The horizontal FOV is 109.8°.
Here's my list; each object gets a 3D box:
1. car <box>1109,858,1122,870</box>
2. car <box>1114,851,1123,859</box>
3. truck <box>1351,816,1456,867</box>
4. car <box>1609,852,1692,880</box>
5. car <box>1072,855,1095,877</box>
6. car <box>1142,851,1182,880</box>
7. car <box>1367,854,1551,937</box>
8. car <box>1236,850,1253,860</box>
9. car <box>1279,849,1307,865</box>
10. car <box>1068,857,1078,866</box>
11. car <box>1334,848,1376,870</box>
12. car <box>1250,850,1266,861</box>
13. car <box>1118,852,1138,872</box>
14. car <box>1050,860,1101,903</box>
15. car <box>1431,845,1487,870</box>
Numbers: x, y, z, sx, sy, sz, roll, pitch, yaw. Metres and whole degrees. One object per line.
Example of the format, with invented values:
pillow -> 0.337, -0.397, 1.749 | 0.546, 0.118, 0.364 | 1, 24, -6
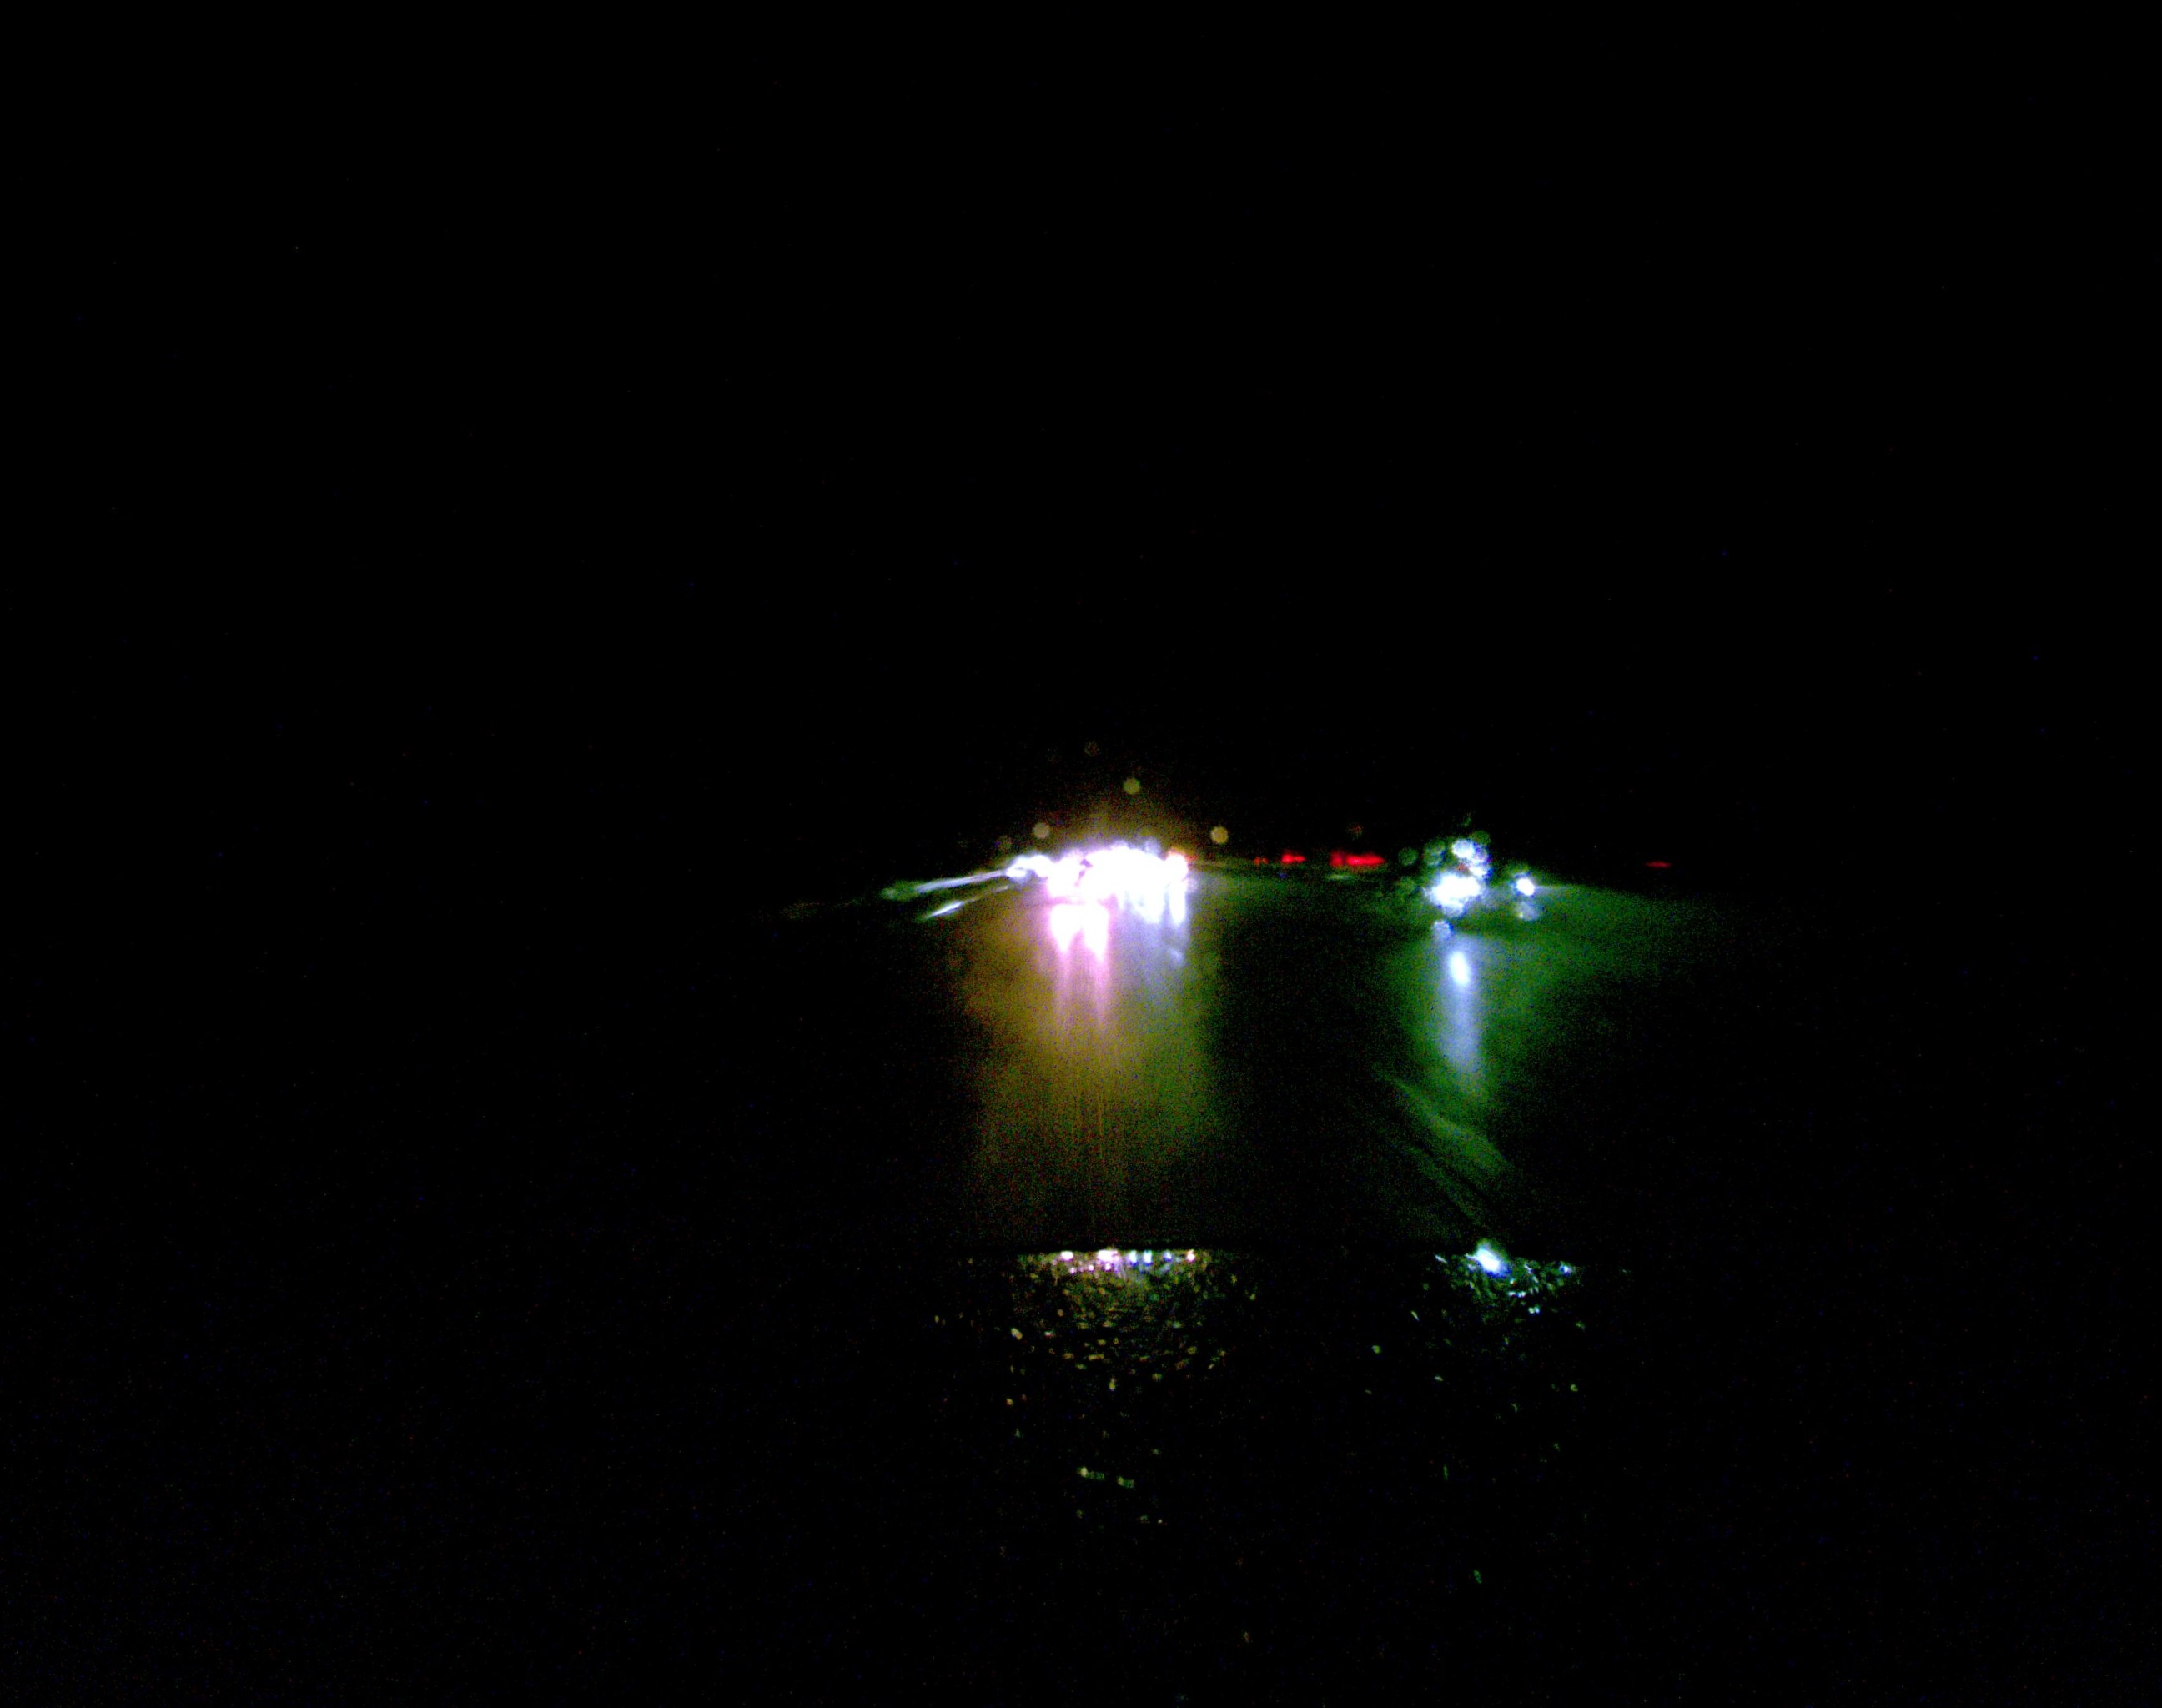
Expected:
car -> 5.154, 1.477, 113.003 | 1.755, 1.563, 4.000 | -2, 0, 1
car -> 8.387, 0.289, 171.806 | 1.800, 1.728, 4.000 | -2, 0, 1
truck -> 32.570, -1.196, 78.231 | 3.418, 4.532, 17.598 | -2, 0, 1
car -> 31.783, 0.625, 42.546 | 1.646, 1.438, 3.932 | -2, 0, 0
car -> 0.238, 0.943, 62.434 | 1.792, 1.681, 4.000 | -2, 0, 1
car -> 4.970, 0.689, 47.051 | 1.960, 1.655, 4.916 | -2, 0, 1
car -> 7.539, 0.751, 15.678 | 1.661, 1.422, 4.246 | -2, 0, 0
car -> 29.127, 0.166, 135.515 | 1.998, 1.663, 4.346 | -2, 0, 0
car -> 20.723, 0.273, 74.408 | 1.618, 1.422, 3.957 | -2, 0, 0
car -> -1.426, 1.332, 142.212 | 1.755, 1.563, 4.000 | -2, 0, 1
car -> 20.211, 0.330, 56.237 | 1.682, 1.495, 3.815 | -2, 0, 0
car -> 28.431, 0.228, 122.059 | 1.635, 1.794, 3.911 | -2, 0, 2
car -> 4.340, 0.711, 70.489 | 1.611, 1.775, 3.910 | -2, 0, 1
car -> -0.140, 0.975, 28.866 | 1.774, 1.449, 4.195 | -2, 0, 1
car -> 24.111, 0.197, 48.596 | 1.646, 1.438, 3.932 | -2, 0, 0
